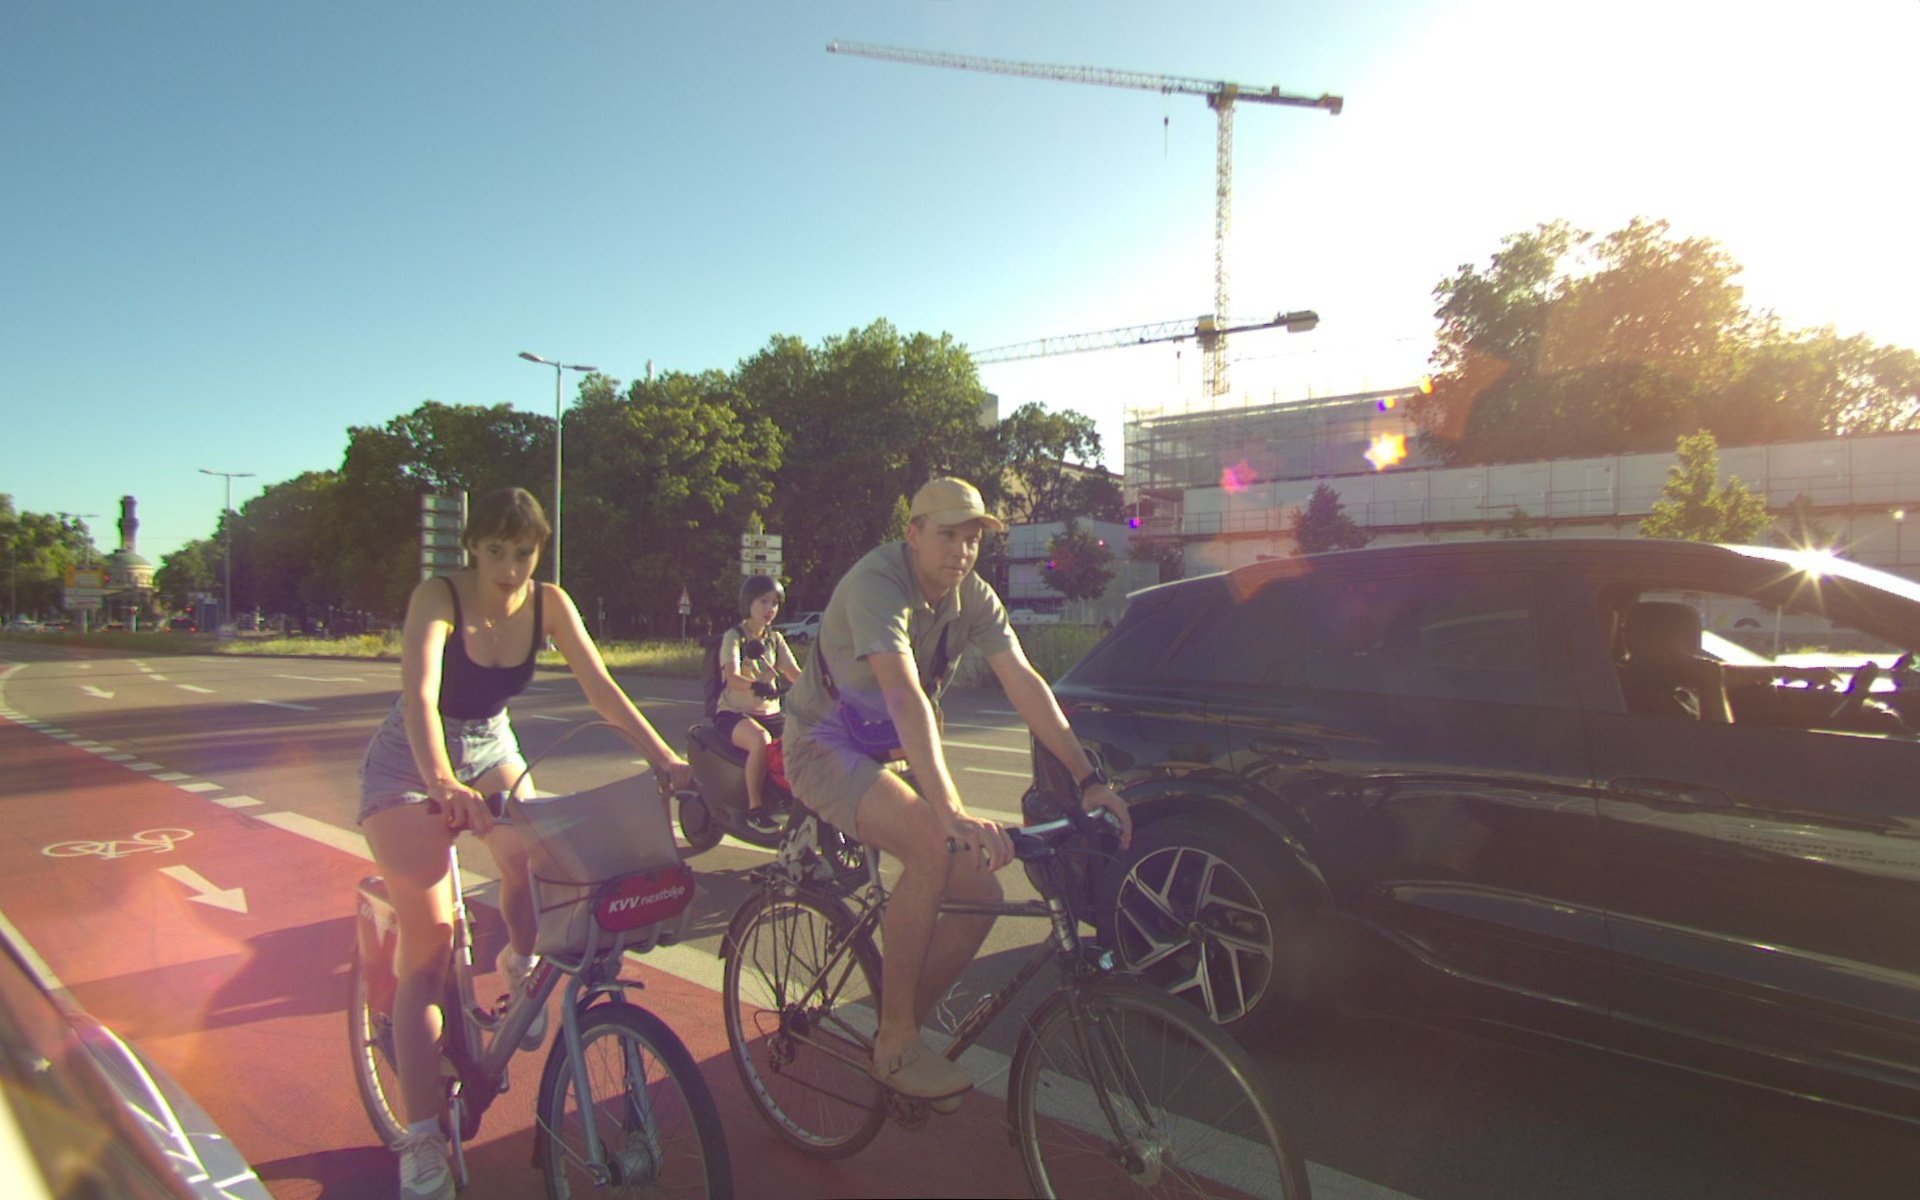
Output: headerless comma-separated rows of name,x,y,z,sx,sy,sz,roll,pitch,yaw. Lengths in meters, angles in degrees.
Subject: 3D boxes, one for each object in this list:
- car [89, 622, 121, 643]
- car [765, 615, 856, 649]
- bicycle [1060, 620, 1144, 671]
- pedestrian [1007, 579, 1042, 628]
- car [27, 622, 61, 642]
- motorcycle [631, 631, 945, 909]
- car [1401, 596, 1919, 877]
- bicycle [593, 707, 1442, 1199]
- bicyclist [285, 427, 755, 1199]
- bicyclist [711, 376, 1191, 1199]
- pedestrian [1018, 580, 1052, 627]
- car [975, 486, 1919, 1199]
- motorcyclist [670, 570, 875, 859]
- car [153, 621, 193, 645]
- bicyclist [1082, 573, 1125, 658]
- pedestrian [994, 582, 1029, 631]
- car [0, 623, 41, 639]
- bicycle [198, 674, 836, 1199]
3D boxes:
car,-79.862,3.027,94.542,3.945,1.802,1.725,-1,0,41
car,-9.055,1.920,61.851,2.065,1.950,5.443,-1,-2,42
bicycle,5.280,1.703,37.795,3.079,1.824,0.831,-3,-1,40
pedestrian,2.756,0.150,43.190,1.135,2.029,0.930,-1,0,35
car,-82.575,2.882,91.245,3.998,1.699,1.826,-1,0,41
motorcycle,-1.030,0.842,5.735,1.883,1.303,0.715,-2,-1,41
car,4.977,0.754,6.551,3.603,1.497,1.477,-2,-1,41
bicycle,-0.020,0.883,2.362,1.968,1.118,0.640,-1,-1,39
bicyclist,-1.013,0.494,2.313,0.874,1.591,0.635,-2,-1,39
bicyclist,-0.020,0.411,2.356,0.841,1.618,0.709,-1,-1,39
pedestrian,3.261,0.143,44.018,1.135,2.029,0.930,-1,0,35
car,2.419,0.576,3.032,4.677,1.647,1.753,-1,0,40
motorcyclist,-1.076,0.595,5.776,0.917,1.485,0.717,-2,-1,41
car,-63.857,2.649,82.105,3.998,1.841,1.796,-1,0,41
bicyclist,5.344,0.560,37.757,1.305,3.126,0.831,-1,0,39
pedestrian,2.151,0.260,42.405,1.135,2.029,0.930,-1,0,35
car,-101.681,3.331,109.045,3.953,1.699,1.846,-1,0,8
bicycle,-1.162,0.835,2.412,1.829,1.227,0.610,-2,-1,39
